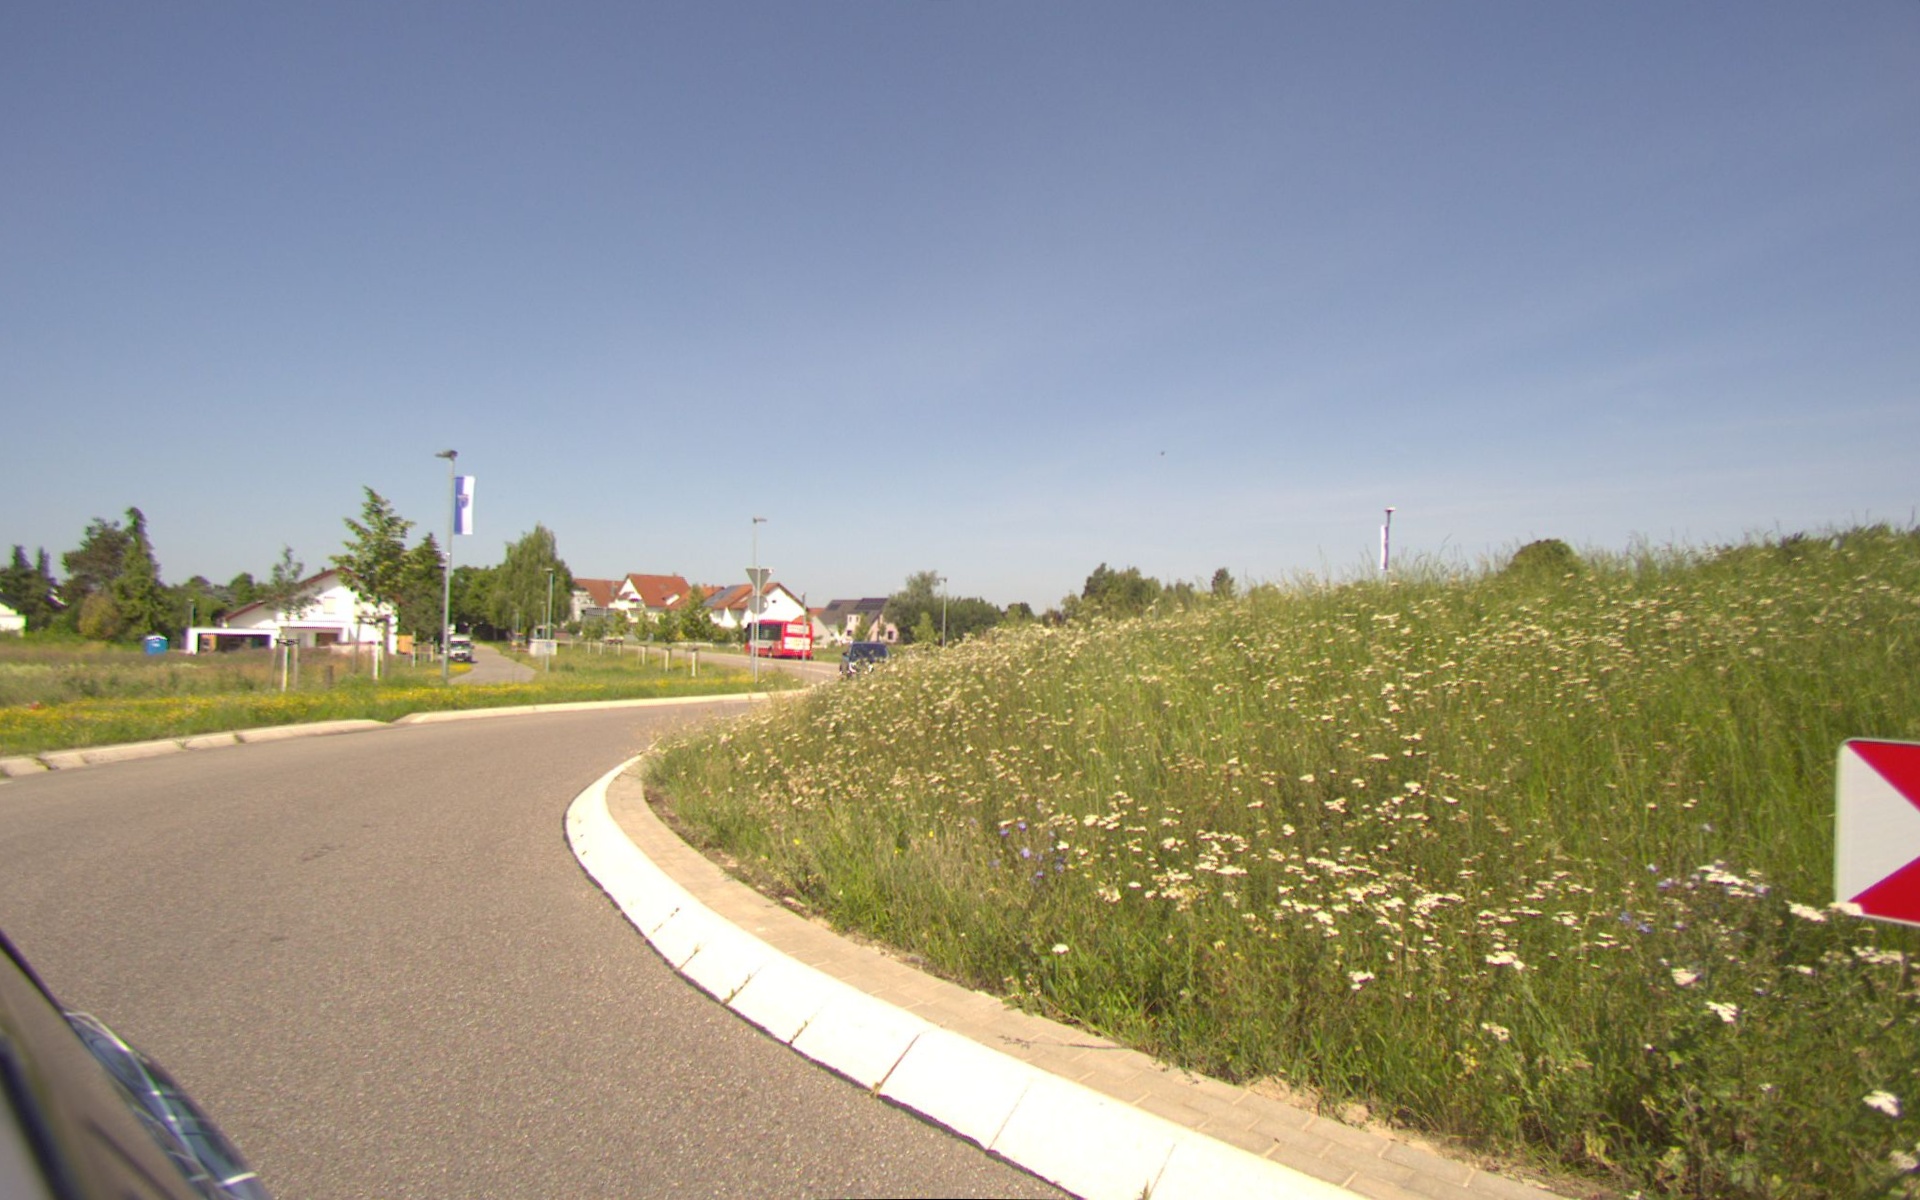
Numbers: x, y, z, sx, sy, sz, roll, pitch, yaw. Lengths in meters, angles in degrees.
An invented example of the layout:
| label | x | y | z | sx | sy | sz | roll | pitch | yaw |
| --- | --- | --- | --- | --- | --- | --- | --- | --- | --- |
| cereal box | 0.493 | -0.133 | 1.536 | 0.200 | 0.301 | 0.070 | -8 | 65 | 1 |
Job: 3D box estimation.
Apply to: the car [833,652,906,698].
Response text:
| label | x | y | z | sx | sy | sz | roll | pitch | yaw |
| --- | --- | --- | --- | --- | --- | --- | --- | --- | --- |
| car | -3.330 | 2.671 | 36.614 | 1.902 | 1.573 | 4.011 | 1 | -3 | -16 |

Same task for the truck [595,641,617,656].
| label | x | y | z | sx | sy | sz | roll | pitch | yaw |
| --- | --- | --- | --- | --- | --- | --- | --- | --- | --- |
| truck | -51.595 | 7.028 | 147.248 | 1.924 | 2.000 | 5.661 | 2 | -2 | -30 |

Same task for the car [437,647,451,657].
| label | x | y | z | sx | sy | sz | roll | pitch | yaw |
| --- | --- | --- | --- | --- | --- | --- | --- | --- | --- |
| car | -84.008 | 8.423 | 164.790 | 1.832 | 1.456 | 4.181 | 1 | -2 | -29 |

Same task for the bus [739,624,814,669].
| label | x | y | z | sx | sy | sz | roll | pitch | yaw |
| --- | --- | --- | --- | --- | --- | --- | --- | --- | --- |
| bus | -15.421 | 3.862 | 84.116 | 2.755 | 3.312 | 12.268 | 5 | -5 | -25 |

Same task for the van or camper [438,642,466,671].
| label | x | y | z | sx | sy | sz | roll | pitch | yaw |
| --- | --- | --- | --- | --- | --- | --- | --- | --- | --- |
| van or camper | -46.864 | 5.193 | 93.490 | 2.141 | 2.621 | 6.050 | 2 | -3 | -25 |

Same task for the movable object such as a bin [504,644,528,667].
| label | x | y | z | sx | sy | sz | roll | pitch | yaw |
| --- | --- | --- | --- | --- | --- | --- | --- | --- | --- |
| movable object such as a bin | -51.485 | 6.450 | 117.245 | 2.283 | 2.482 | 6.967 | 1 | -4 | -26 |
